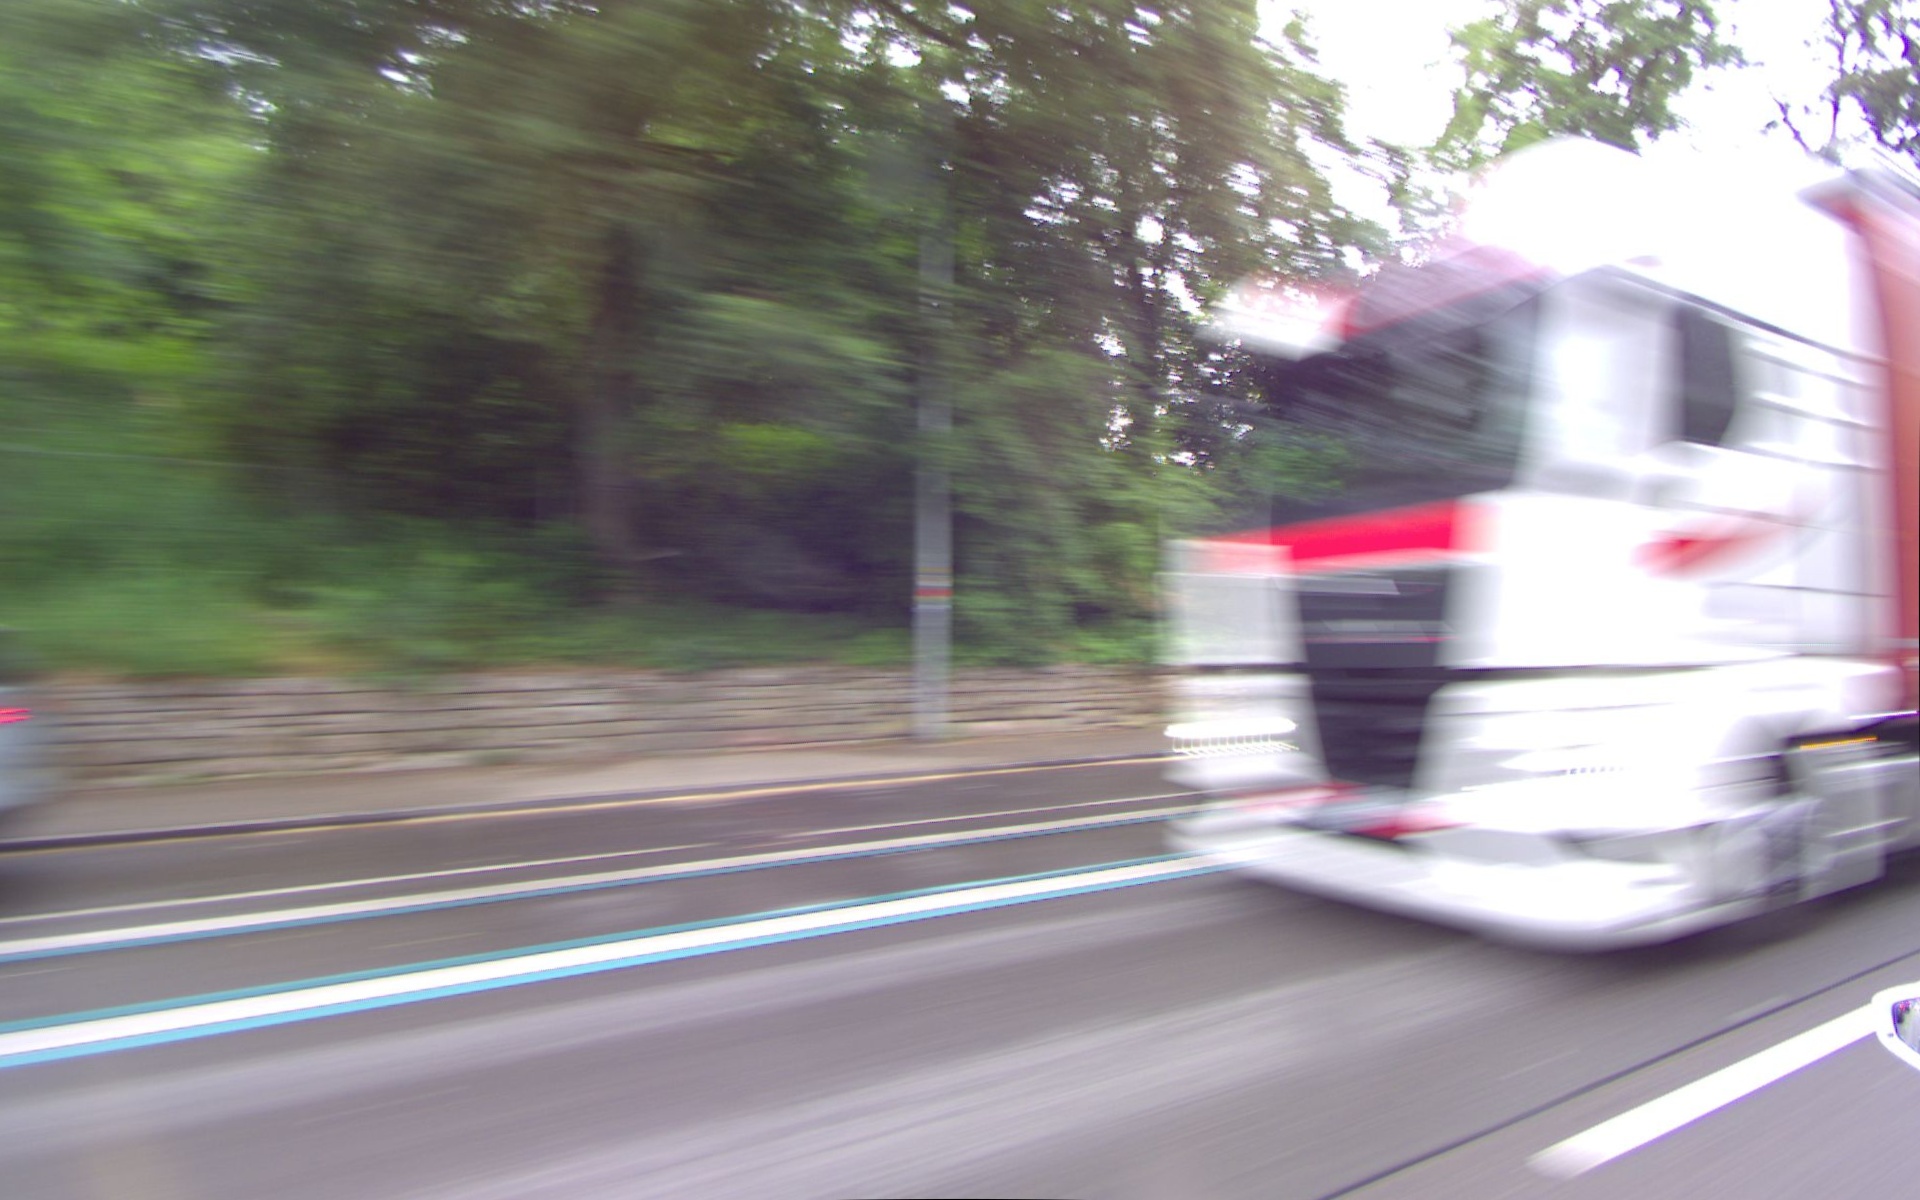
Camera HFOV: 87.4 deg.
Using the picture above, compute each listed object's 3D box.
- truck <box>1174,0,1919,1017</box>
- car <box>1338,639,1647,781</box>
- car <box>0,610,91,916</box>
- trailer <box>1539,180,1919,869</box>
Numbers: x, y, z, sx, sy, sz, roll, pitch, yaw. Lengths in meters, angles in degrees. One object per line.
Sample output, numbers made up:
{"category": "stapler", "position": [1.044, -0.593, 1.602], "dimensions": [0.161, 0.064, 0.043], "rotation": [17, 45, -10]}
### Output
{"category": "truck", "position": [4.034, -0.353, 6.236], "dimensions": [4.860, 4.099, 2.506], "rotation": [1, -3, -31]}
{"category": "car", "position": [6.871, 1.278, 12.876], "dimensions": [3.938, 1.502, 1.780], "rotation": [1, -2, -32]}
{"category": "car", "position": [-7.500, 0.860, 4.797], "dimensions": [4.723, 1.627, 2.001], "rotation": [1, -1, -30]}
{"category": "trailer", "position": [10.979, -0.304, 10.321], "dimensions": [12.617, 4.314, 2.676], "rotation": [1, -4, -30]}
